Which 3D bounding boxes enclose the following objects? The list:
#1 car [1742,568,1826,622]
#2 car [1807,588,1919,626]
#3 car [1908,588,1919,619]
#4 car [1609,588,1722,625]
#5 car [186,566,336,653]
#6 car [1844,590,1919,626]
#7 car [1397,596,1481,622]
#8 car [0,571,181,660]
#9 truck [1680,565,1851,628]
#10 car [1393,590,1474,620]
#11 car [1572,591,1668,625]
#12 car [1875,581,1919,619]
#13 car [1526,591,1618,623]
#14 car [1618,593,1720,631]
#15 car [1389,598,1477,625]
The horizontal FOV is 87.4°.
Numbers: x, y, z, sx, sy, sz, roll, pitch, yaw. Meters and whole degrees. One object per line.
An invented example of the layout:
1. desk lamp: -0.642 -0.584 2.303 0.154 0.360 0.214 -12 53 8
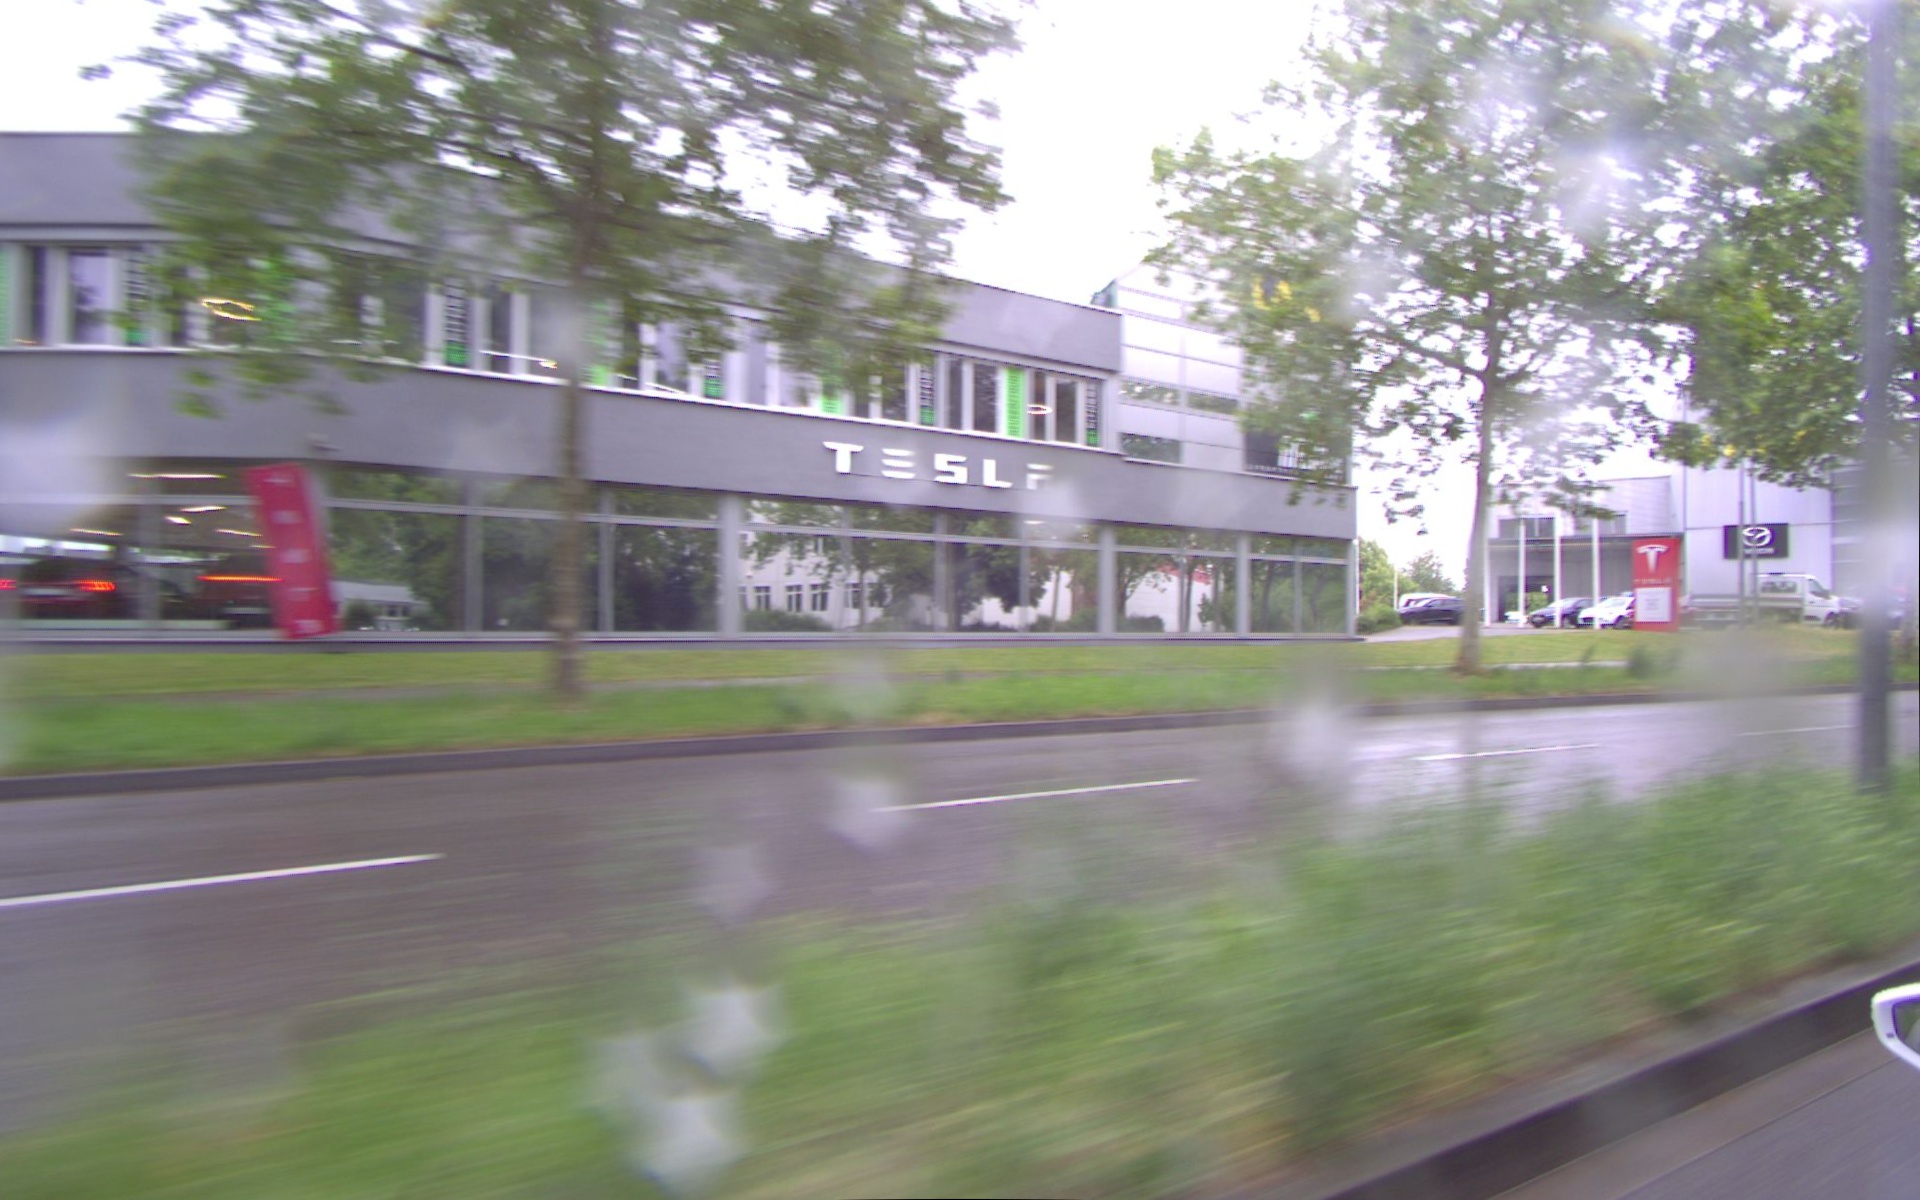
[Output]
1. car: 44.362 -0.295 54.219 2.130 2.789 5.334 1 1 24
2. car: 36.925 0.240 40.737 1.740 1.345 3.520 -1 3 -17
3. car: 44.130 0.207 43.552 1.817 1.376 3.993 -1 3 -17
4. car: 37.221 0.318 53.143 4.563 1.788 1.820 1 1 22
5. car: -13.555 0.202 19.721 1.576 1.514 4.181 1 -1 -23
6. car: 39.076 0.310 41.427 1.740 1.345 3.520 -1 3 -17
7. car: 27.508 0.501 57.782 4.072 1.415 1.769 0 1 11
8. car: -16.586 0.289 19.257 1.576 1.514 4.181 1 -1 -23
9. truck: 32.302 -0.191 40.324 6.093 2.376 2.246 -1 3 -17
10. car: 28.588 0.301 60.680 4.074 1.752 1.768 -1 1 1
11. car: 30.380 0.352 46.209 4.098 1.415 1.758 -1 1 -24
12. car: 41.514 0.034 42.319 1.817 1.578 3.993 -1 3 -17
13. car: 29.485 0.305 48.384 4.098 1.415 1.758 -1 1 -24
14. car: 30.604 0.489 43.356 4.098 1.487 1.758 -1 1 -24
15. car: 26.073 0.622 55.505 4.072 1.415 1.769 0 1 11
